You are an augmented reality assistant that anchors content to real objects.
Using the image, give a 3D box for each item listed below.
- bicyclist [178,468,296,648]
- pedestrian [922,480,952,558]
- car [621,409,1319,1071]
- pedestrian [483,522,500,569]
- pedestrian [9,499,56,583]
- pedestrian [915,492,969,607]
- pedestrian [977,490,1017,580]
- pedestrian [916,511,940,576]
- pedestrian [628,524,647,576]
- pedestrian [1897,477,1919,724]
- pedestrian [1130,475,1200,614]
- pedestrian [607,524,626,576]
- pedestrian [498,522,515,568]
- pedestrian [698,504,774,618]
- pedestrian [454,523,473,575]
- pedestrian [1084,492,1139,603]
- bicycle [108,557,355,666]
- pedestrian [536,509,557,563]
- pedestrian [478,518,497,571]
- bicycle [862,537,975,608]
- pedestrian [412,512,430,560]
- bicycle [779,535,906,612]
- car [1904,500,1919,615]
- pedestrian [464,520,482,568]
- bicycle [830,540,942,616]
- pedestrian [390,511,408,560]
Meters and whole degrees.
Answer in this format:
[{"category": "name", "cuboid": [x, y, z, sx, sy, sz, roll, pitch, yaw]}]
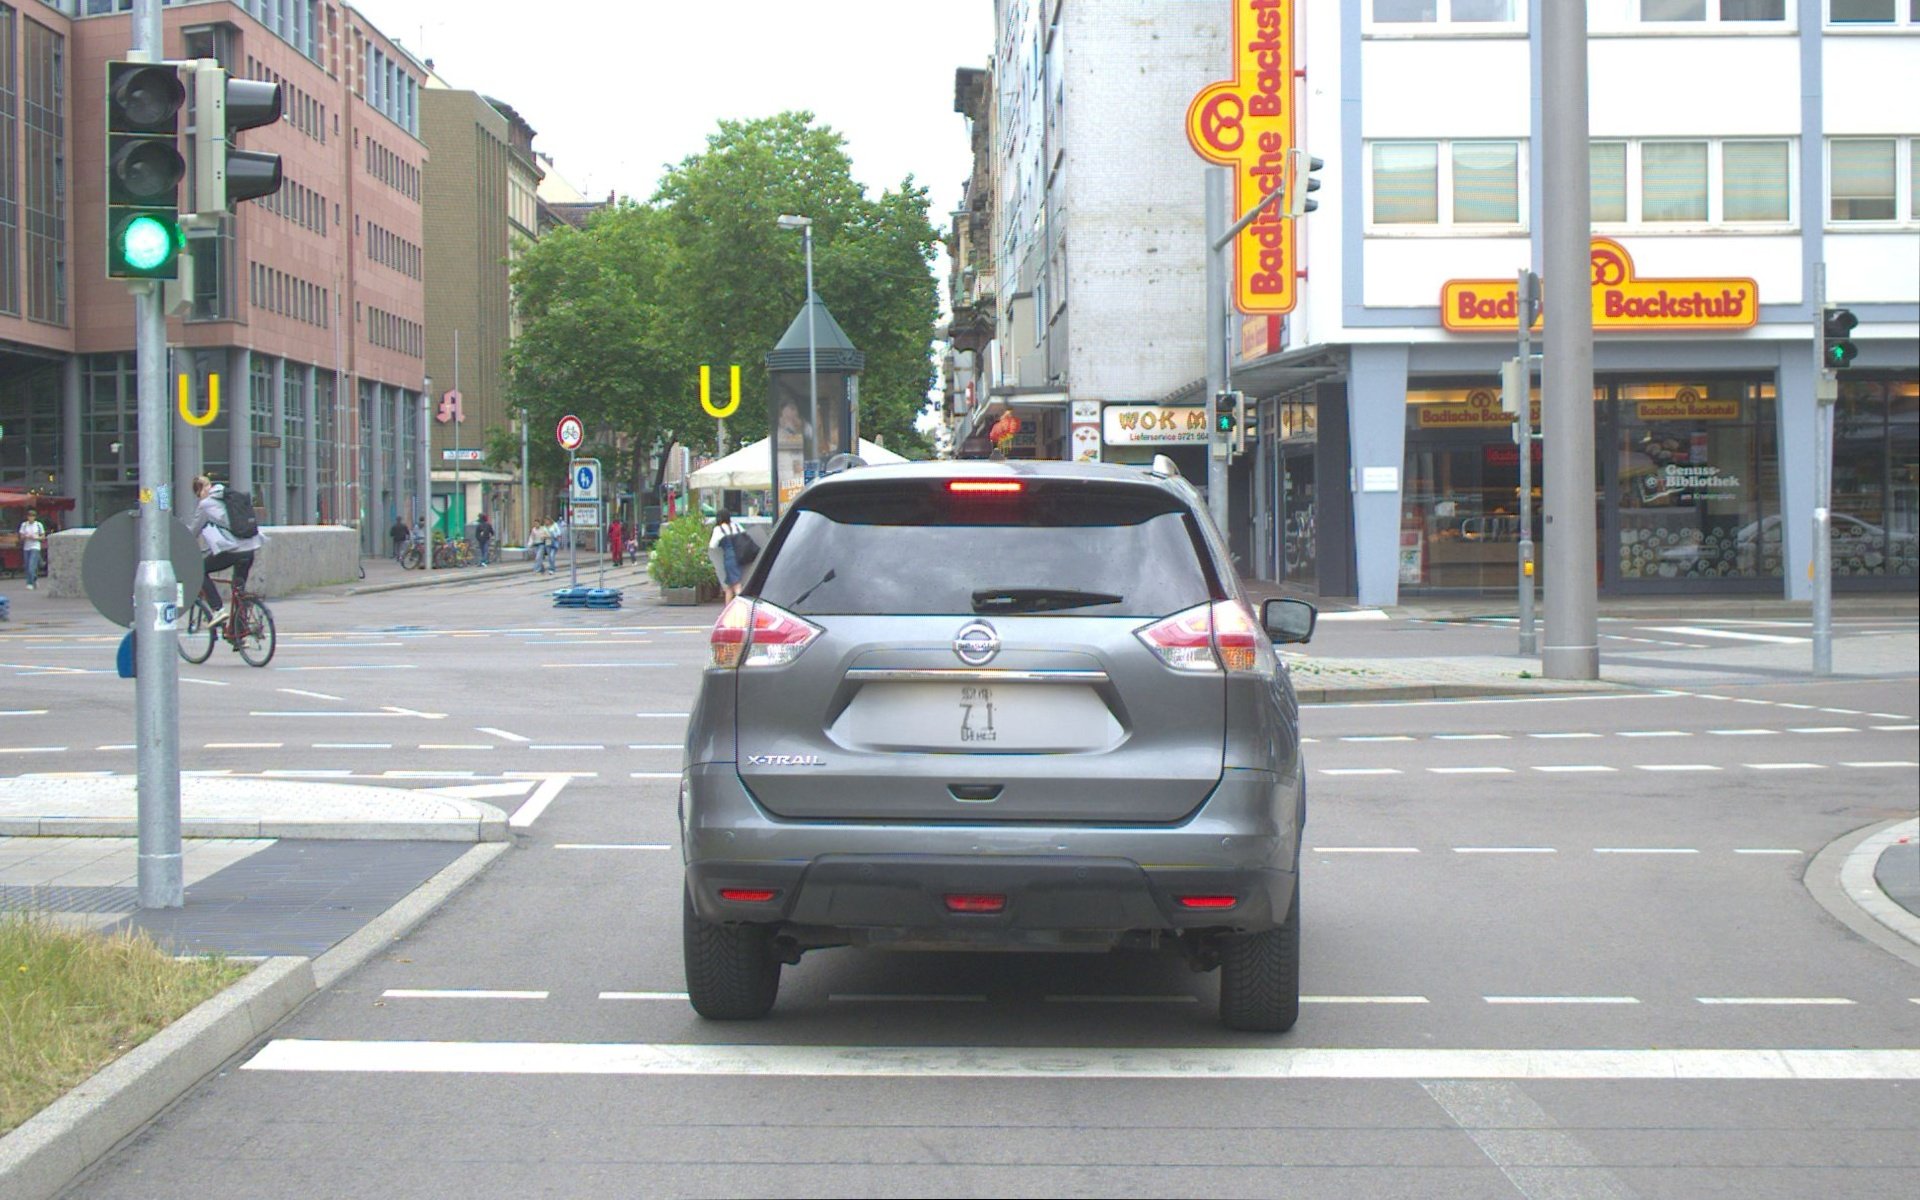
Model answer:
[{"category": "bicyclist", "cuboid": [-7.381, -0.436, 35.072, 0.835, 1.806, 0.877, -1, 2, -44]}, {"category": "pedestrian", "cuboid": [-0.508, -1.776, 75.489, 0.643, 1.699, 0.559, 1, 1, 0]}, {"category": "car", "cuboid": [0.174, 0.353, 11.536, 1.863, 1.769, 4.566, -1, 1, 4]}, {"category": "pedestrian", "cuboid": [-16.932, -1.964, 124.169, 0.600, 1.708, 0.656, 0, 1, -8]}, {"category": "pedestrian", "cuboid": [-20.583, -1.315, 76.295, 0.701, 1.835, 0.734, 1, 1, 19]}, {"category": "pedestrian", "cuboid": [-0.277, -0.772, 52.469, 0.732, 1.739, 0.663, 0, 1, -8]}, {"category": "pedestrian", "cuboid": [0.747, -1.312, 69.270, 0.737, 1.815, 0.662, -1, 1, -3]}, {"category": "pedestrian", "cuboid": [-0.830, -1.486, 90.023, 0.611, 1.699, 0.619, 1, 1, 0]}, {"category": "pedestrian", "cuboid": [-10.805, -1.675, 115.125, 0.600, 1.708, 0.656, 0, 1, -8]}, {"category": "pedestrian", "cuboid": [7.135, 0.008, 24.447, 0.621, 1.755, 0.780, 0, 1, -8]}, {"category": "pedestrian", "cuboid": [2.715, -0.738, 45.570, 0.712, 1.826, 1.017, 0, 1, -8]}, {"category": "pedestrian", "cuboid": [-11.486, -1.676, 114.924, 0.600, 1.708, 0.656, 0, 1, -8]}, {"category": "pedestrian", "cuboid": [-16.845, -2.057, 127.772, 0.600, 1.708, 0.656, 0, 1, -8]}, {"category": "pedestrian", "cuboid": [-3.396, -0.596, 52.121, 0.927, 1.699, 0.734, 1, 1, 19]}, {"category": "pedestrian", "cuboid": [-16.424, -1.695, 113.794, 0.600, 1.708, 0.656, 0, 1, -8]}, {"category": "pedestrian", "cuboid": [2.333, -0.809, 52.932, 0.710, 1.699, 0.734, 1, 1, 12]}, {"category": "bicycle", "cuboid": [-7.487, 0.094, 35.181, 0.902, 1.041, 3.276, -1, 2, -43]}, {"category": "pedestrian", "cuboid": [-11.781, -1.814, 97.942, 0.600, 1.531, 0.656, 0, 1, -8]}, {"category": "pedestrian", "cuboid": [-15.376, -1.822, 111.896, 0.600, 1.708, 0.656, 0, 1, -8]}, {"category": "bicycle", "cuboid": [-0.634, -0.427, 52.907, 1.696, 1.062, 0.437, 1, 1, 6]}, {"category": "pedestrian", "cuboid": [-19.131, -2.279, 121.982, 0.600, 1.708, 0.656, 0, 1, -8]}, {"category": "bicycle", "cuboid": [-1.801, -0.410, 52.835, 1.866, 1.167, 0.531, 0, 1, -14]}, {"category": "car", "cuboid": [14.649, -0.592, 44.111, 4.551, 1.476, 1.749, -1, 1, -3]}, {"category": "pedestrian", "cuboid": [-17.284, -1.988, 121.960, 0.600, 1.708, 0.656, 0, 1, -8]}, {"category": "bicycle", "cuboid": [-1.160, -0.339, 53.637, 1.695, 1.167, 0.437, 0, 1, -7]}, {"category": "pedestrian", "cuboid": [-19.877, -2.283, 121.884, 0.600, 1.708, 0.656, 0, 1, -8]}]
